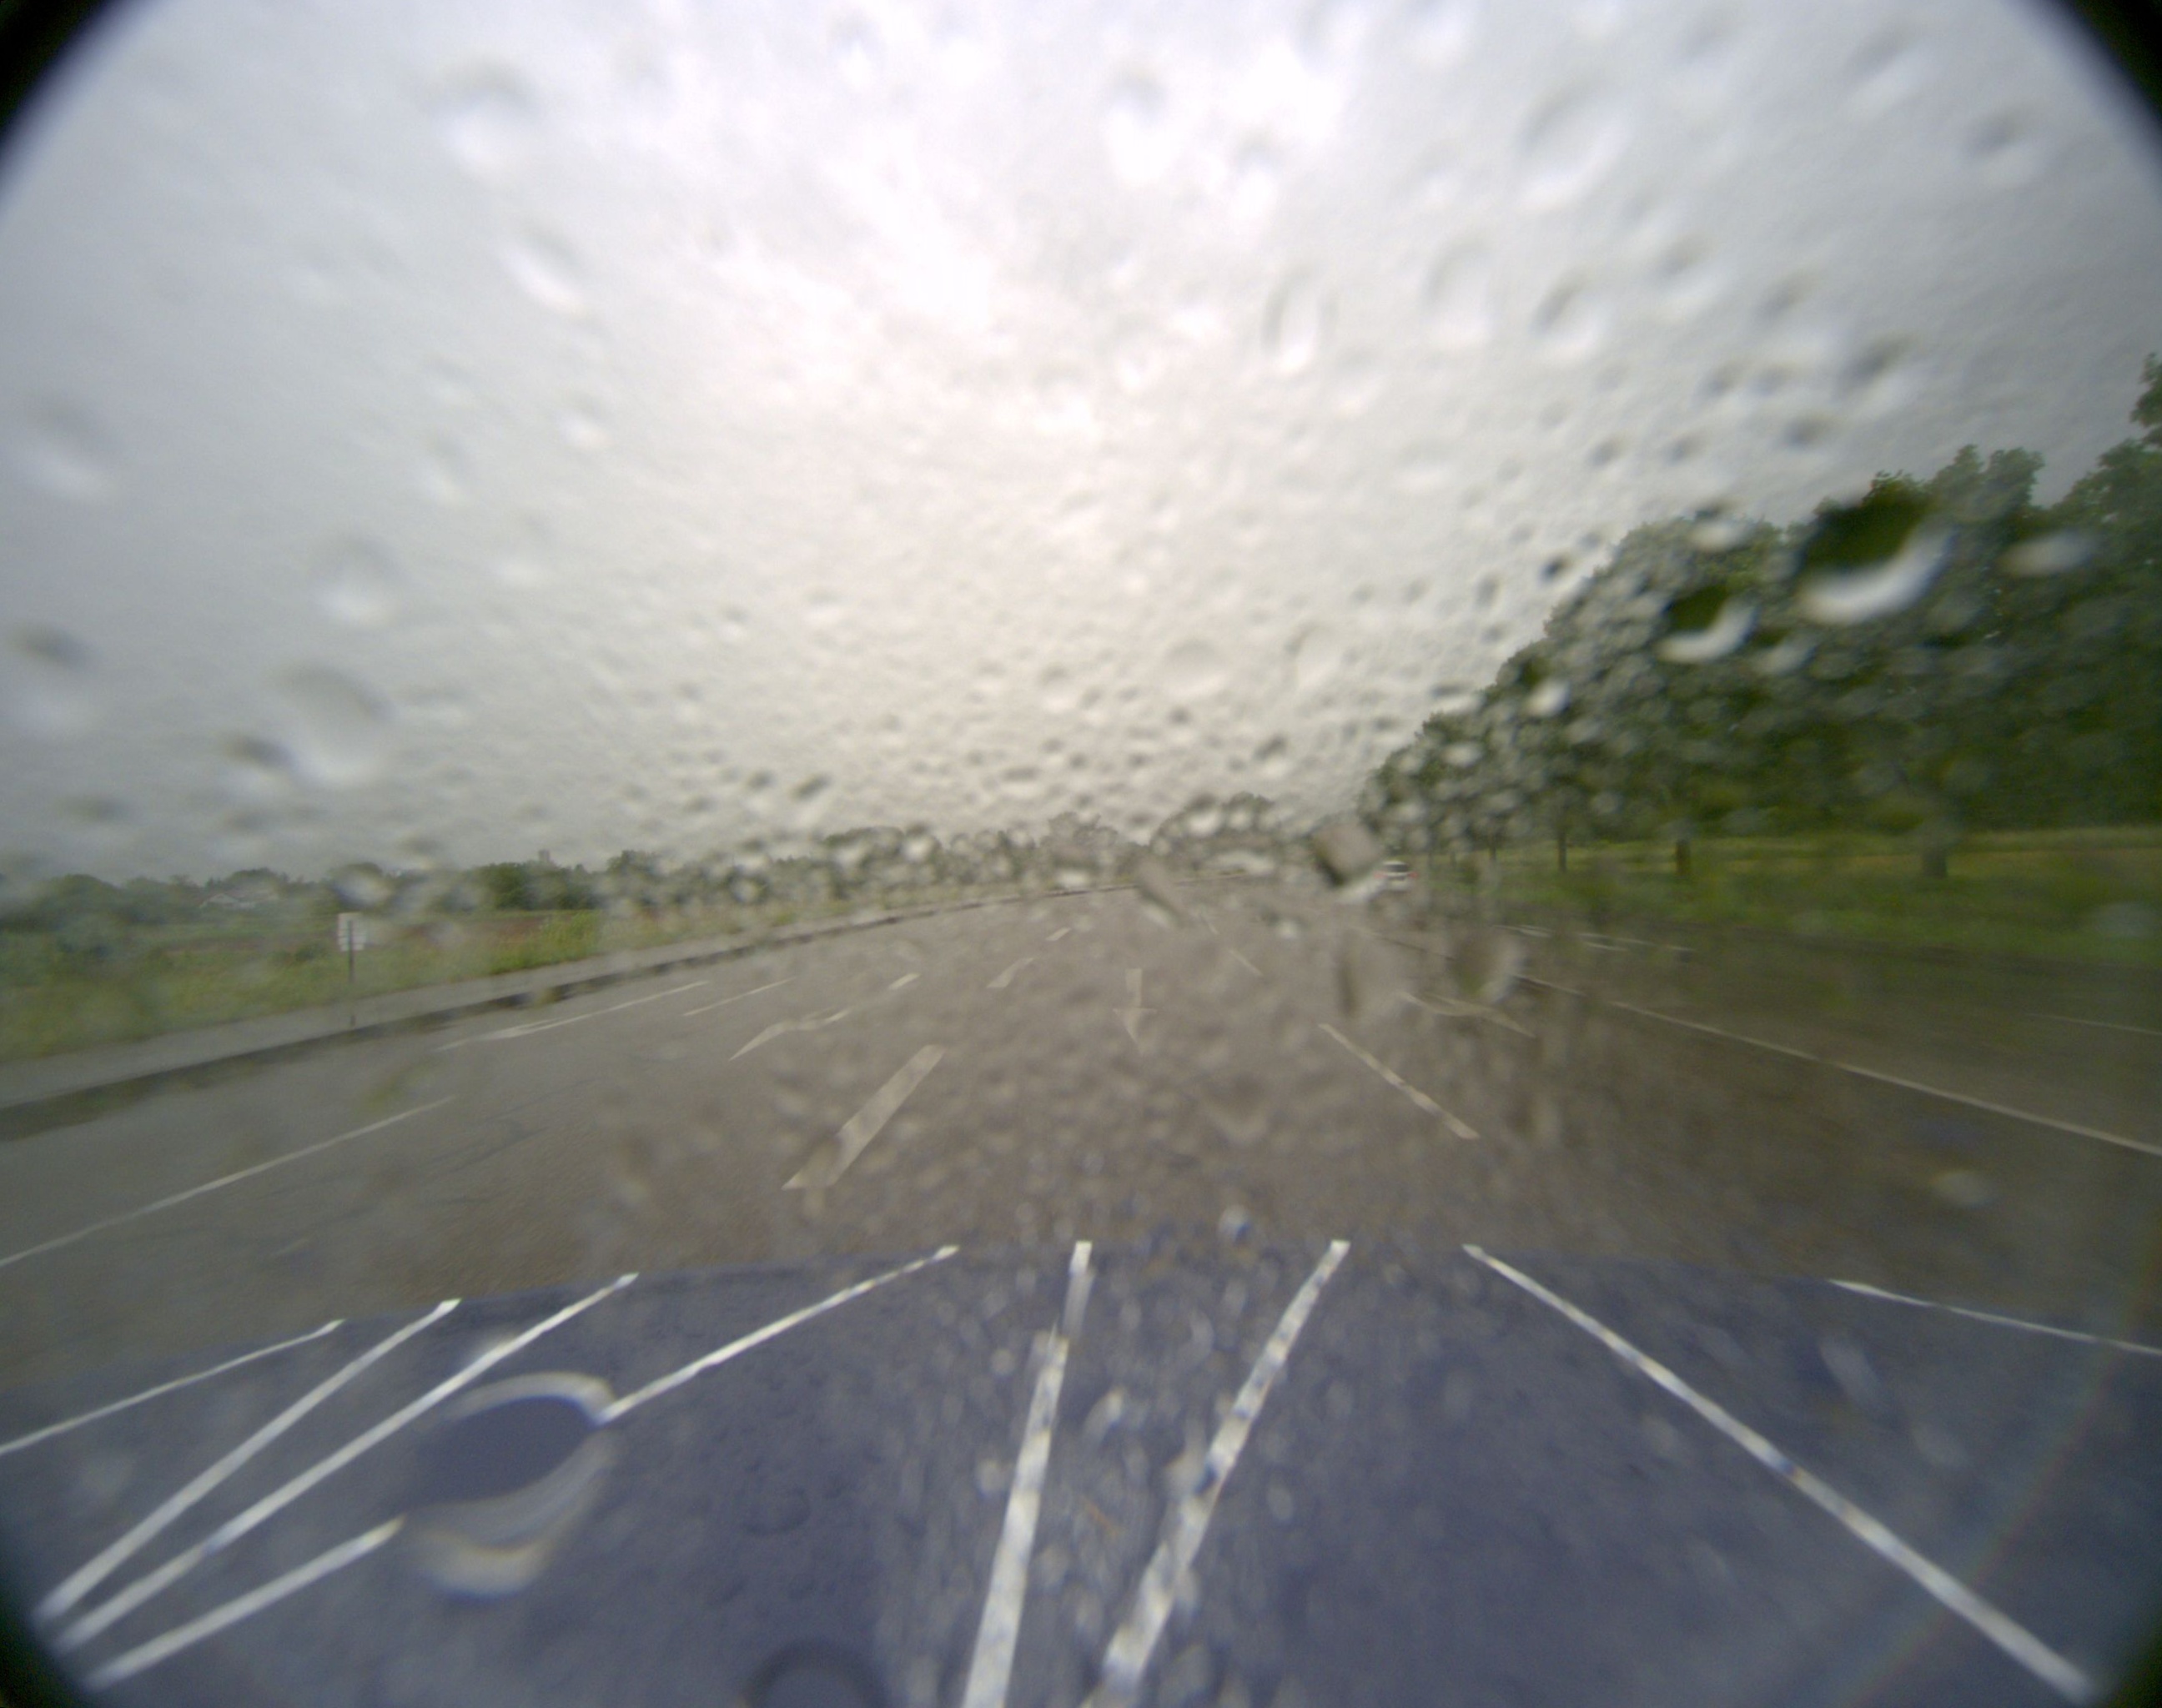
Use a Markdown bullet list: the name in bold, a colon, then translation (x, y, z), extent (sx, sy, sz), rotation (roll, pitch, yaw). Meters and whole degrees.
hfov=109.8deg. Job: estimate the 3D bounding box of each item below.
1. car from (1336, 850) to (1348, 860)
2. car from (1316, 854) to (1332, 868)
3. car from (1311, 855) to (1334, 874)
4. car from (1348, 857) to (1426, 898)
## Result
- **car**: translation (46.290, 0.222, 134.880), extent (1.926, 1.733, 4.294), rotation (-1, 0, 17)
- **car**: translation (28.136, 0.783, 87.977), extent (1.741, 1.478, 4.016), rotation (-1, 0, 18)
- **car**: translation (23.005, 1.015, 72.450), extent (1.887, 1.578, 4.123), rotation (-4, 0, 16)
- **car**: translation (12.607, 0.926, 31.625), extent (1.882, 1.564, 4.647), rotation (-1, 0, 7)
